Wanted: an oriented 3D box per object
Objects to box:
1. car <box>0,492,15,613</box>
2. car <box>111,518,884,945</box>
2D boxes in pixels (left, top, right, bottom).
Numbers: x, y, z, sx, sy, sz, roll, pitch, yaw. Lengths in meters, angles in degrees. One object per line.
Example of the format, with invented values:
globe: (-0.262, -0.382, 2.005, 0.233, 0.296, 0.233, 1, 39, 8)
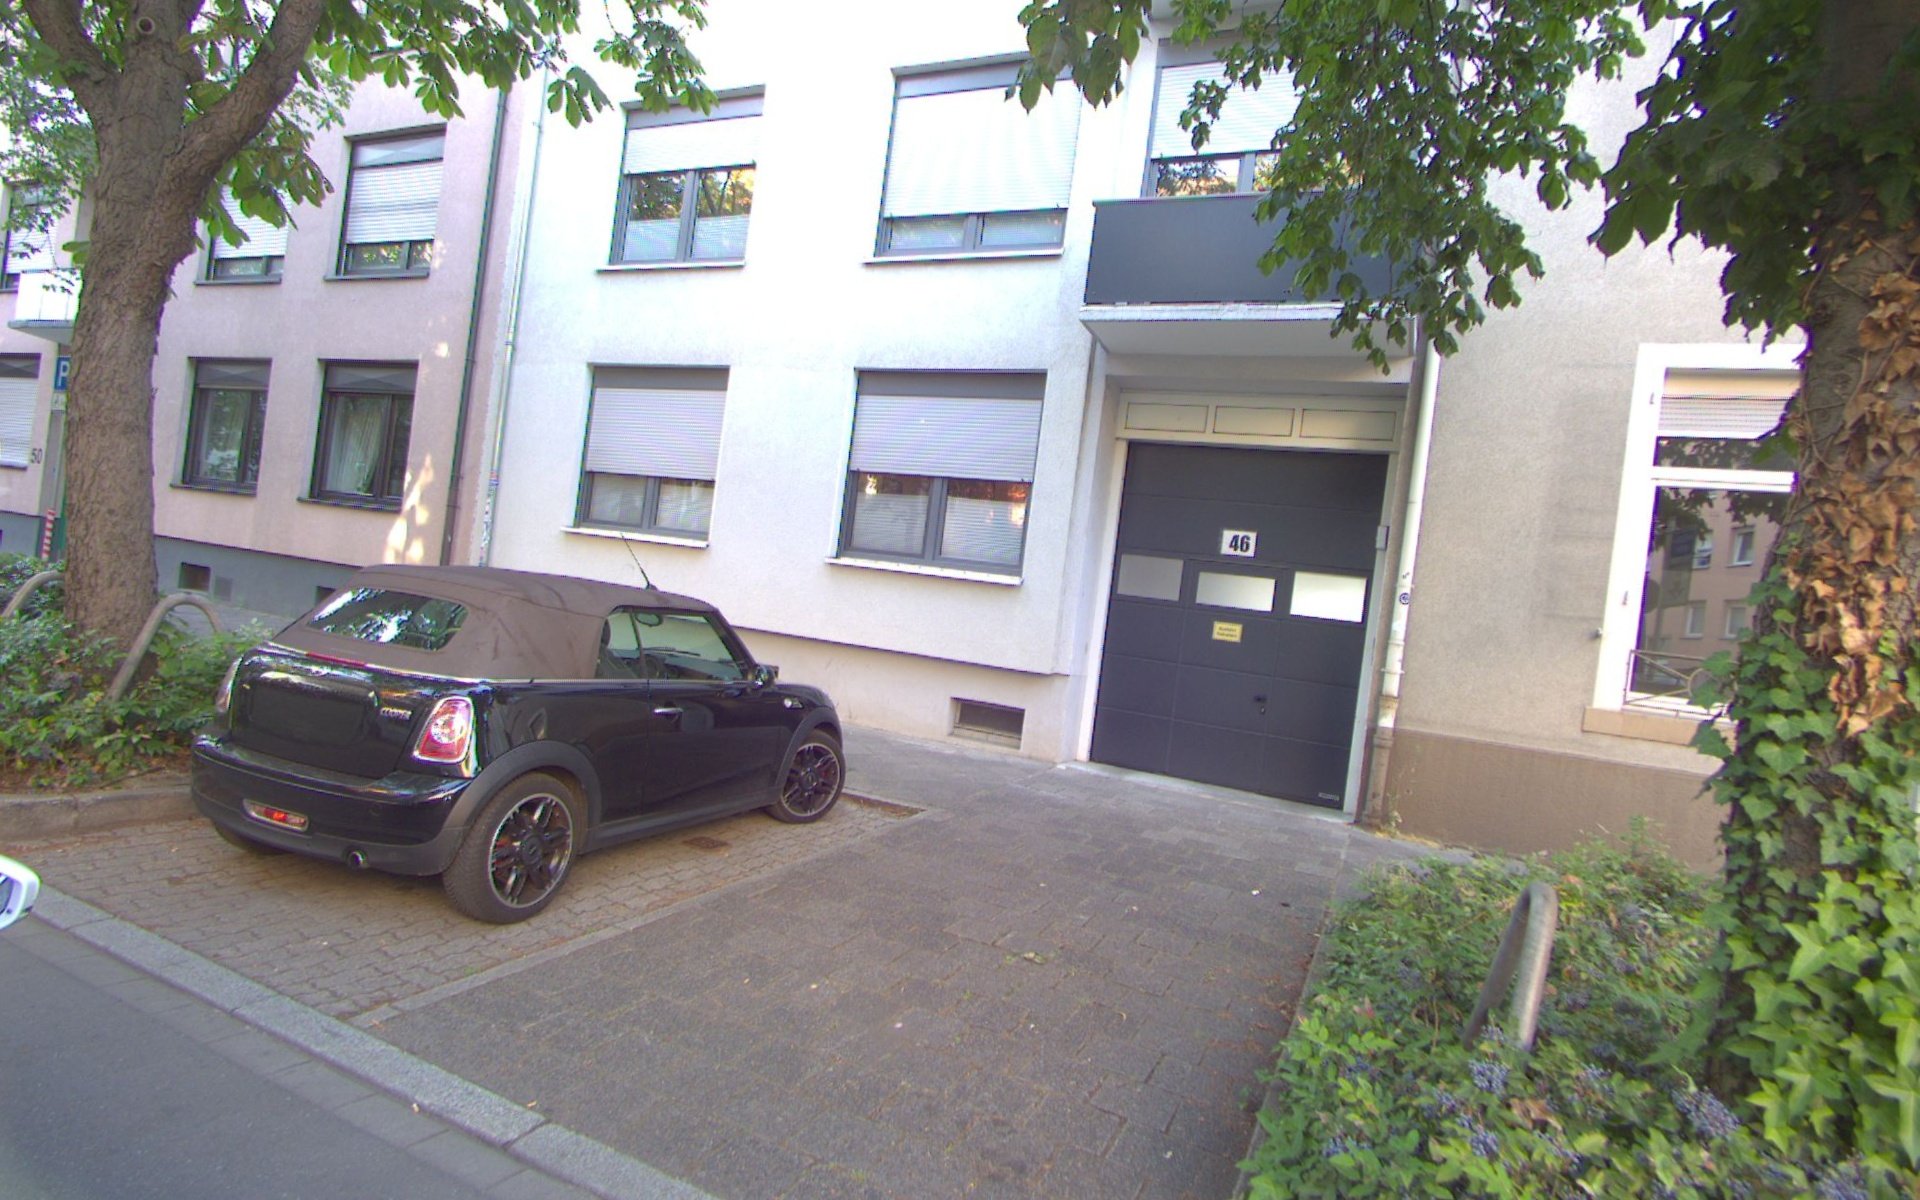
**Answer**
car: (-13.348, -0.801, 11.043, 1.634, 1.494, 3.921, 7, -1, 24)
car: (-2.019, 0.553, 5.530, 1.634, 1.380, 3.622, 7, -1, 22)
